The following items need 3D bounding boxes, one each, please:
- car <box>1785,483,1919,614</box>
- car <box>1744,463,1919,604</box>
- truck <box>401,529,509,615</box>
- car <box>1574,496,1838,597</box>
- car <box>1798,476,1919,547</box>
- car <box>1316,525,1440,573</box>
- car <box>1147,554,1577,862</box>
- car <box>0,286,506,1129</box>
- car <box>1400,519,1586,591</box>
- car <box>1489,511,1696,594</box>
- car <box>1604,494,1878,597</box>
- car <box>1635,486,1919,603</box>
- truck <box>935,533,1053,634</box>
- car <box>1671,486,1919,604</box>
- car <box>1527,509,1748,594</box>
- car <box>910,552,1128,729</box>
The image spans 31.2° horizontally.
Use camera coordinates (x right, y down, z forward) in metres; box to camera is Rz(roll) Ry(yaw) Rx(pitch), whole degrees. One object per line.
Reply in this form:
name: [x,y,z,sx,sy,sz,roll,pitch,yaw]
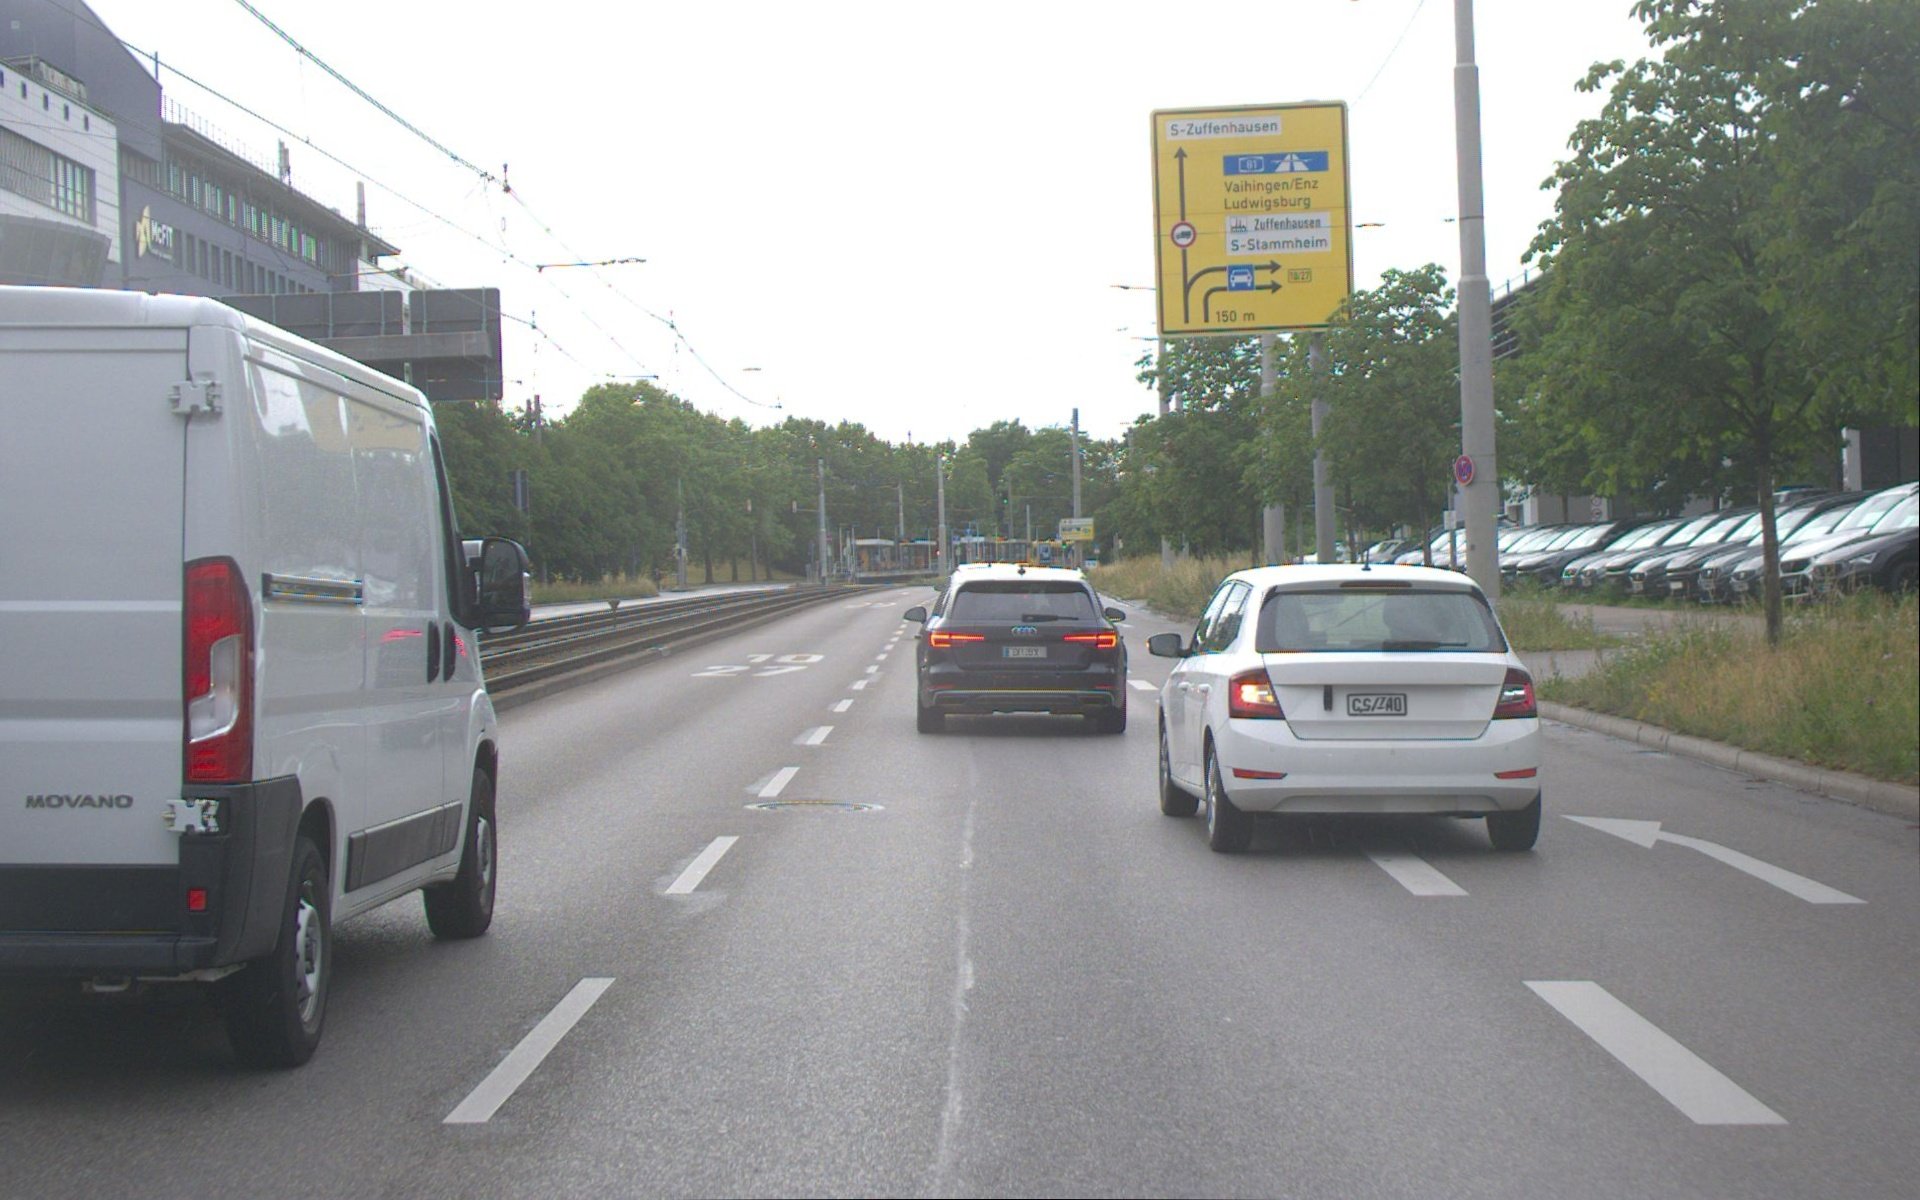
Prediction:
car: [14.404,-0.823,49.636,4.375,1.783,1.879,-3,1,-14]
car: [14.452,-1.071,52.465,4.484,1.985,1.822,-3,1,-20]
truck: [-16.044,-0.907,109.636,2.238,2.556,7.015,-3,1,0]
car: [14.231,-1.024,65.673,4.484,1.657,1.822,-3,1,-11]
car: [27.441,-2.665,103.253,4.026,1.969,1.945,-2,0,0]
car: [14.812,-1.813,121.731,4.087,1.460,1.748,-3,0,-32]
car: [2.041,0.499,18.437,1.746,1.452,3.671,1,1,-2]
car: [-2.914,0.221,11.504,2.090,2.189,5.061,1,1,0]
car: [13.326,-1.125,85.949,4.138,1.564,1.910,-4,1,-23]
car: [13.848,-1.039,75.295,4.043,1.571,1.733,-3,1,-19]
car: [14.328,-0.998,63.173,4.484,1.613,1.822,-3,1,-9]
car: [14.333,-0.968,60.251,4.484,1.789,1.822,-3,1,-11]
truck: [0.611,-0.331,65.469,1.993,1.784,4.414,-2,1,-2]
car: [14.381,-0.938,57.367,4.484,1.746,1.822,-3,1,-11]
car: [13.870,-0.990,70.430,4.043,1.496,1.687,-3,1,-11]
car: [0.462,0.306,30.327,1.789,1.444,4.000,0,1,-1]
